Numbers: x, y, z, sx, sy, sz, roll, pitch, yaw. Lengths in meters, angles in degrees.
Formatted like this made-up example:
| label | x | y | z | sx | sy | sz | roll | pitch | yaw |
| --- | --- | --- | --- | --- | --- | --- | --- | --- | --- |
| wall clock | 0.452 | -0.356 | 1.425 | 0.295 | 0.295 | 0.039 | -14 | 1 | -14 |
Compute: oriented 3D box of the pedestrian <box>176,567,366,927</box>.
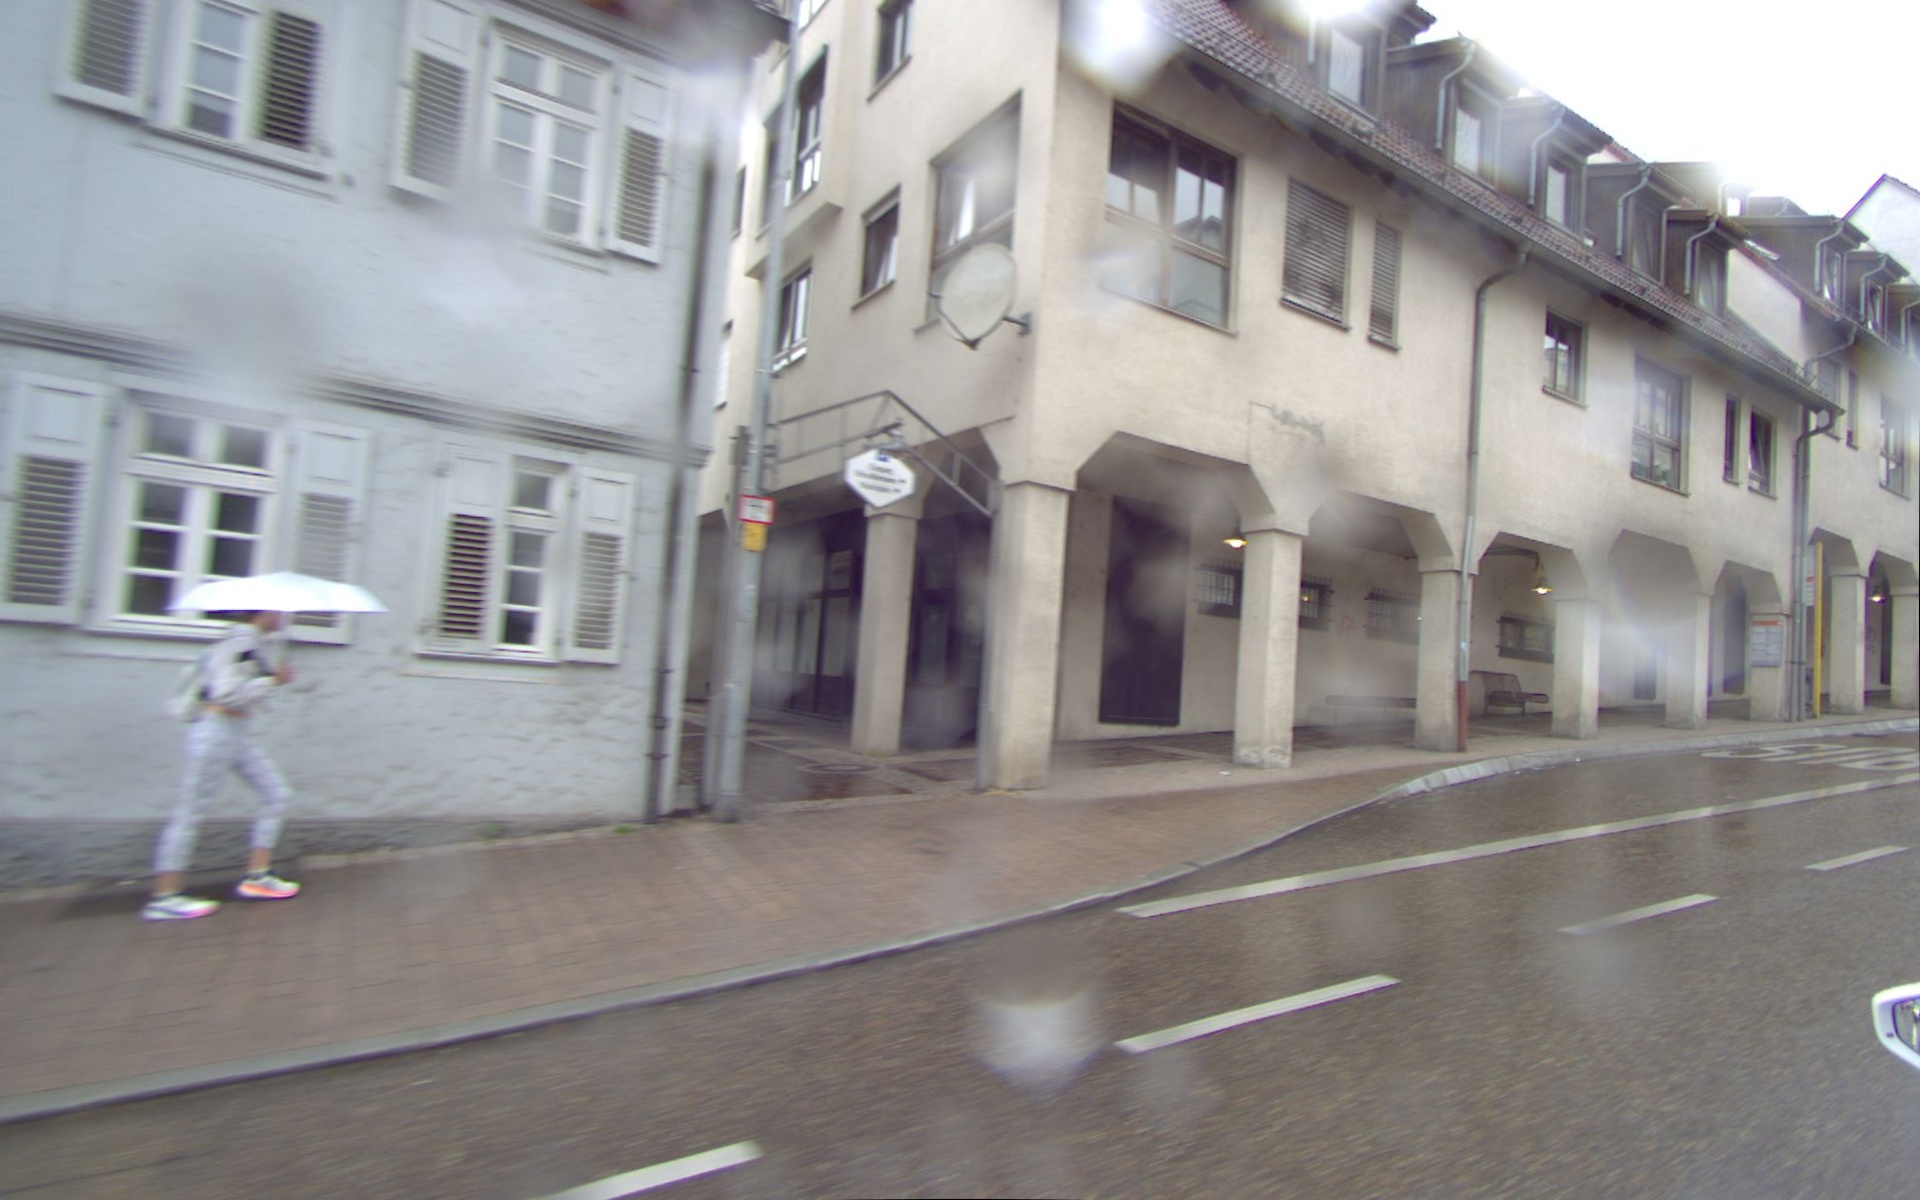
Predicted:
| label | x | y | z | sx | sy | sz | roll | pitch | yaw |
| --- | --- | --- | --- | --- | --- | --- | --- | --- | --- |
| pedestrian | -3.655 | 0.727 | 5.394 | 0.726 | 1.763 | 0.685 | 1 | 0 | -28 |
